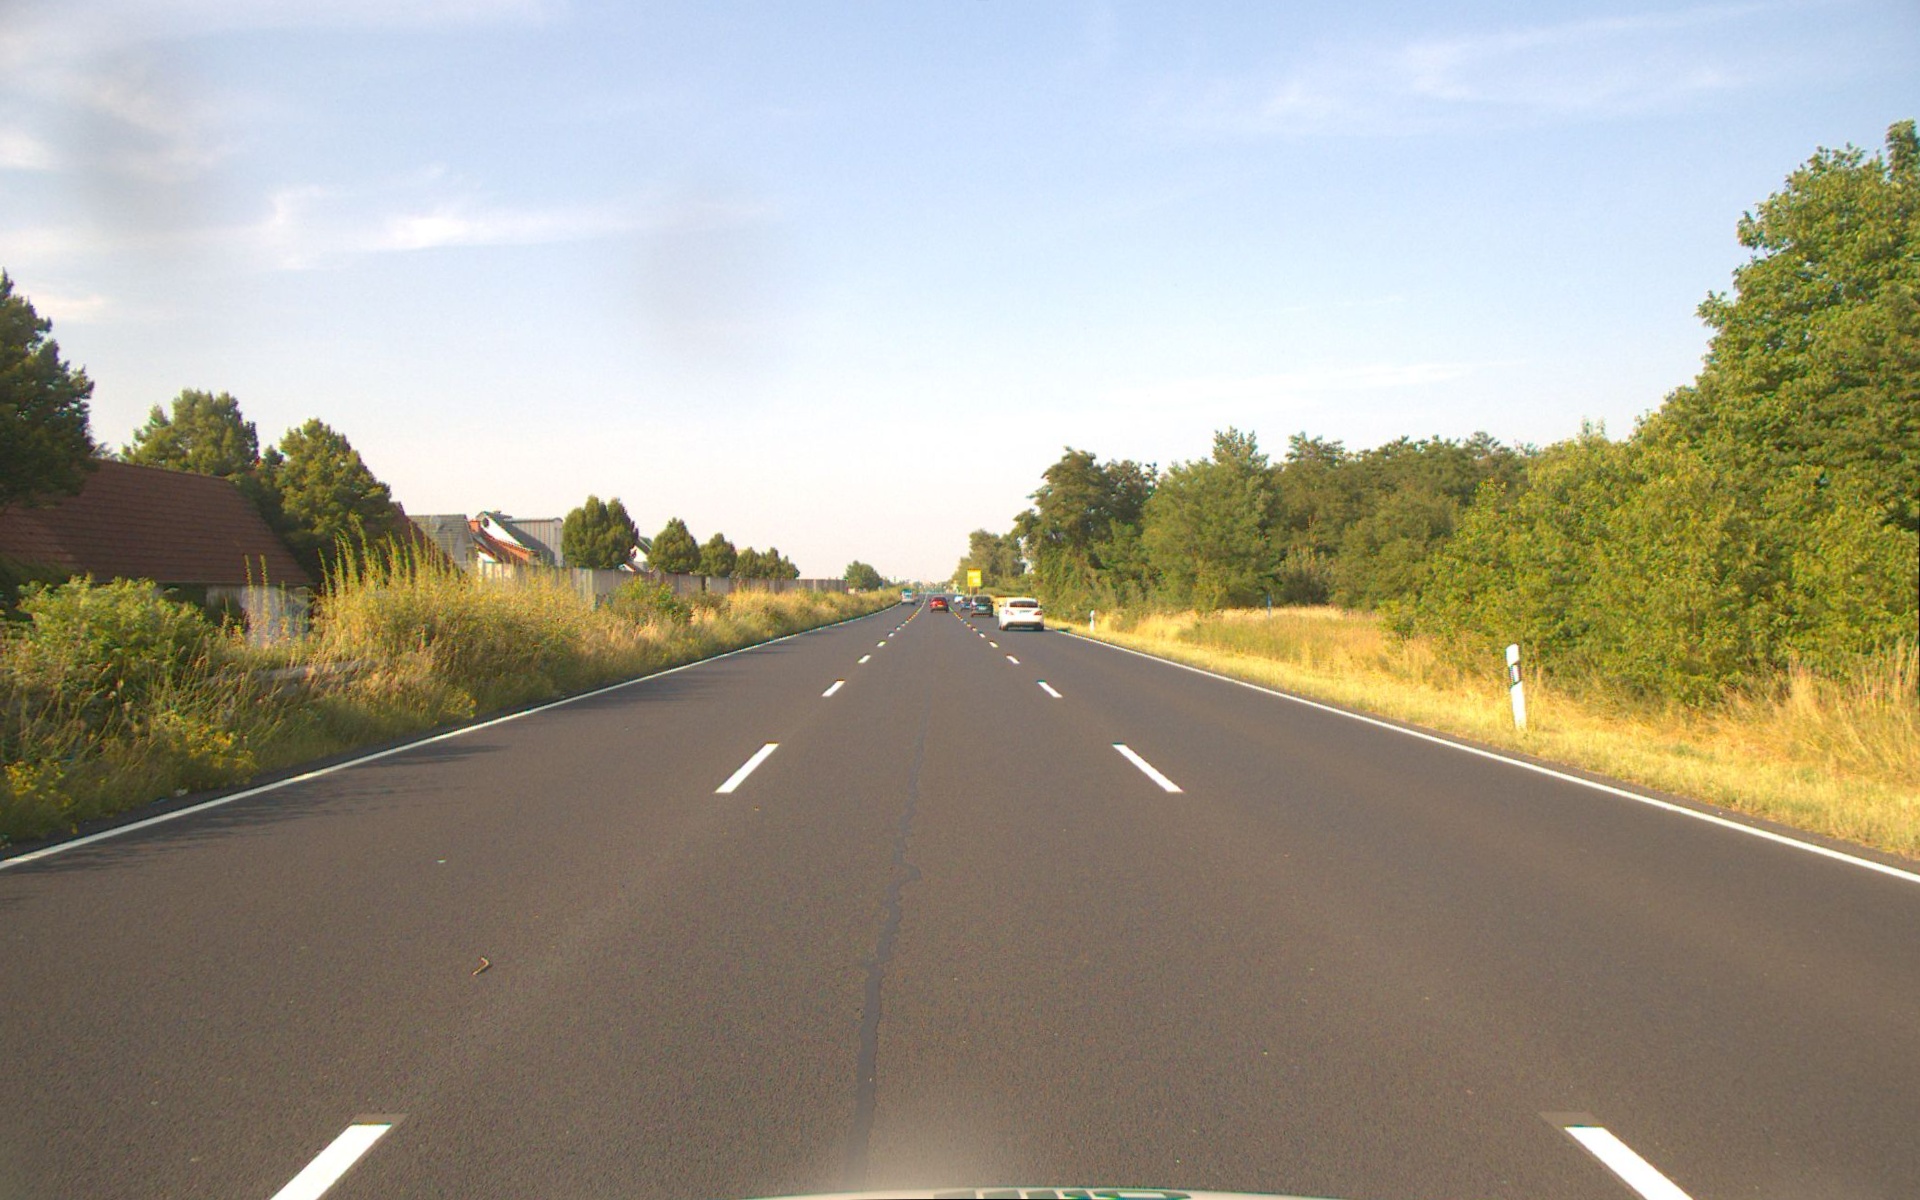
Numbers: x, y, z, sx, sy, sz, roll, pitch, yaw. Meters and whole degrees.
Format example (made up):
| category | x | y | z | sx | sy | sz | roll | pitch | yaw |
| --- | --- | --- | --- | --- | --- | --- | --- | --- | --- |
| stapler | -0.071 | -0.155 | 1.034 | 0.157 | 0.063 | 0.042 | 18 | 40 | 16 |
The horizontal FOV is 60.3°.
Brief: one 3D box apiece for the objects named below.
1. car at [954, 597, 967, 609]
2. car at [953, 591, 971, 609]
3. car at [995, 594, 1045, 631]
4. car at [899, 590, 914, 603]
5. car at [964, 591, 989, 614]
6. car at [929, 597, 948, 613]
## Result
| category | x | y | z | sx | sy | sz | roll | pitch | yaw |
| --- | --- | --- | --- | --- | --- | --- | --- | --- | --- |
| car | 0.071 | 0.423 | 239.727 | 1.809 | 1.780 | 3.999 | 1 | 0 | -1 |
| car | 0.203 | 0.007 | 170.638 | 1.797 | 1.747 | 3.861 | 1 | 0 | -1 |
| car | 2.624 | 0.542 | 72.968 | 1.953 | 1.543 | 3.999 | 1 | 0 | -1 |
| car | -7.191 | -0.502 | 222.434 | 1.722 | 1.646 | 4.000 | 1 | 0 | 1 |
| car | 1.274 | 0.201 | 128.102 | 1.791 | 1.758 | 3.999 | 1 | 0 | -1 |
| car | -2.065 | 0.505 | 157.421 | 1.775 | 1.461 | 3.857 | 1 | 0 | -2 |
